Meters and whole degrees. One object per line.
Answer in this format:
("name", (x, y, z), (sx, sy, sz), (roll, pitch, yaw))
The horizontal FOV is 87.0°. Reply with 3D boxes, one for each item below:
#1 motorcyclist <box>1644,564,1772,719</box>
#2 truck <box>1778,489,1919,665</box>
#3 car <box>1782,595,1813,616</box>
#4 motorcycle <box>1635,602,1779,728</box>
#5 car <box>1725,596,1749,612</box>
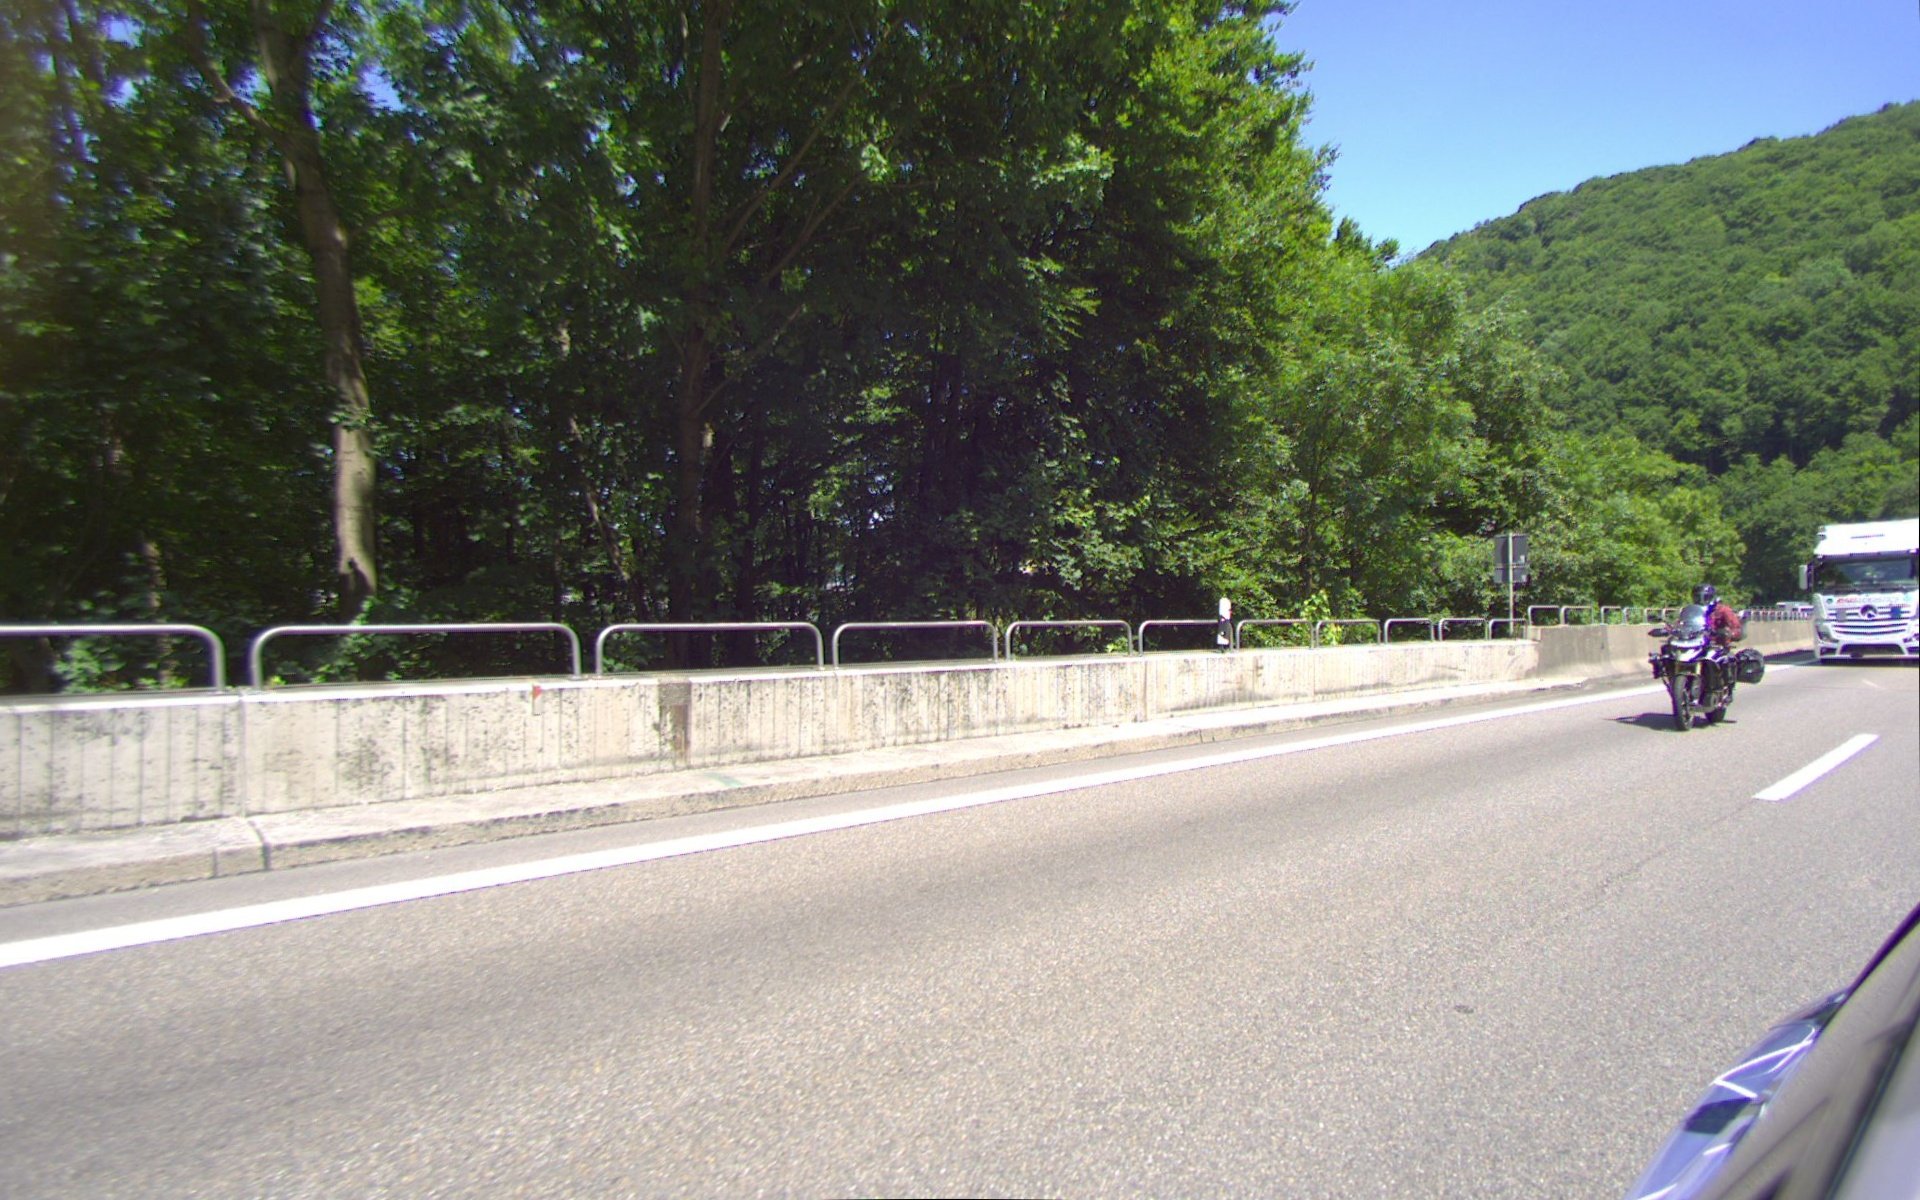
("motorcyclist", (9.389, 0.486, 12.698), (1.315, 1.823, 1.062), (0, -1, -42))
("truck", (28.227, -0.517, 30.396), (16.420, 4.186, 2.964), (0, -3, -42))
("car", (81.667, 0.511, 98.682), (1.987, 2.039, 3.949), (0, 0, 35))
("motorcycle", (9.546, 0.753, 12.888), (2.635, 1.437, 0.974), (0, 0, -42))
("car", (102.477, 0.480, 133.535), (1.983, 2.039, 3.958), (0, 0, 30))
